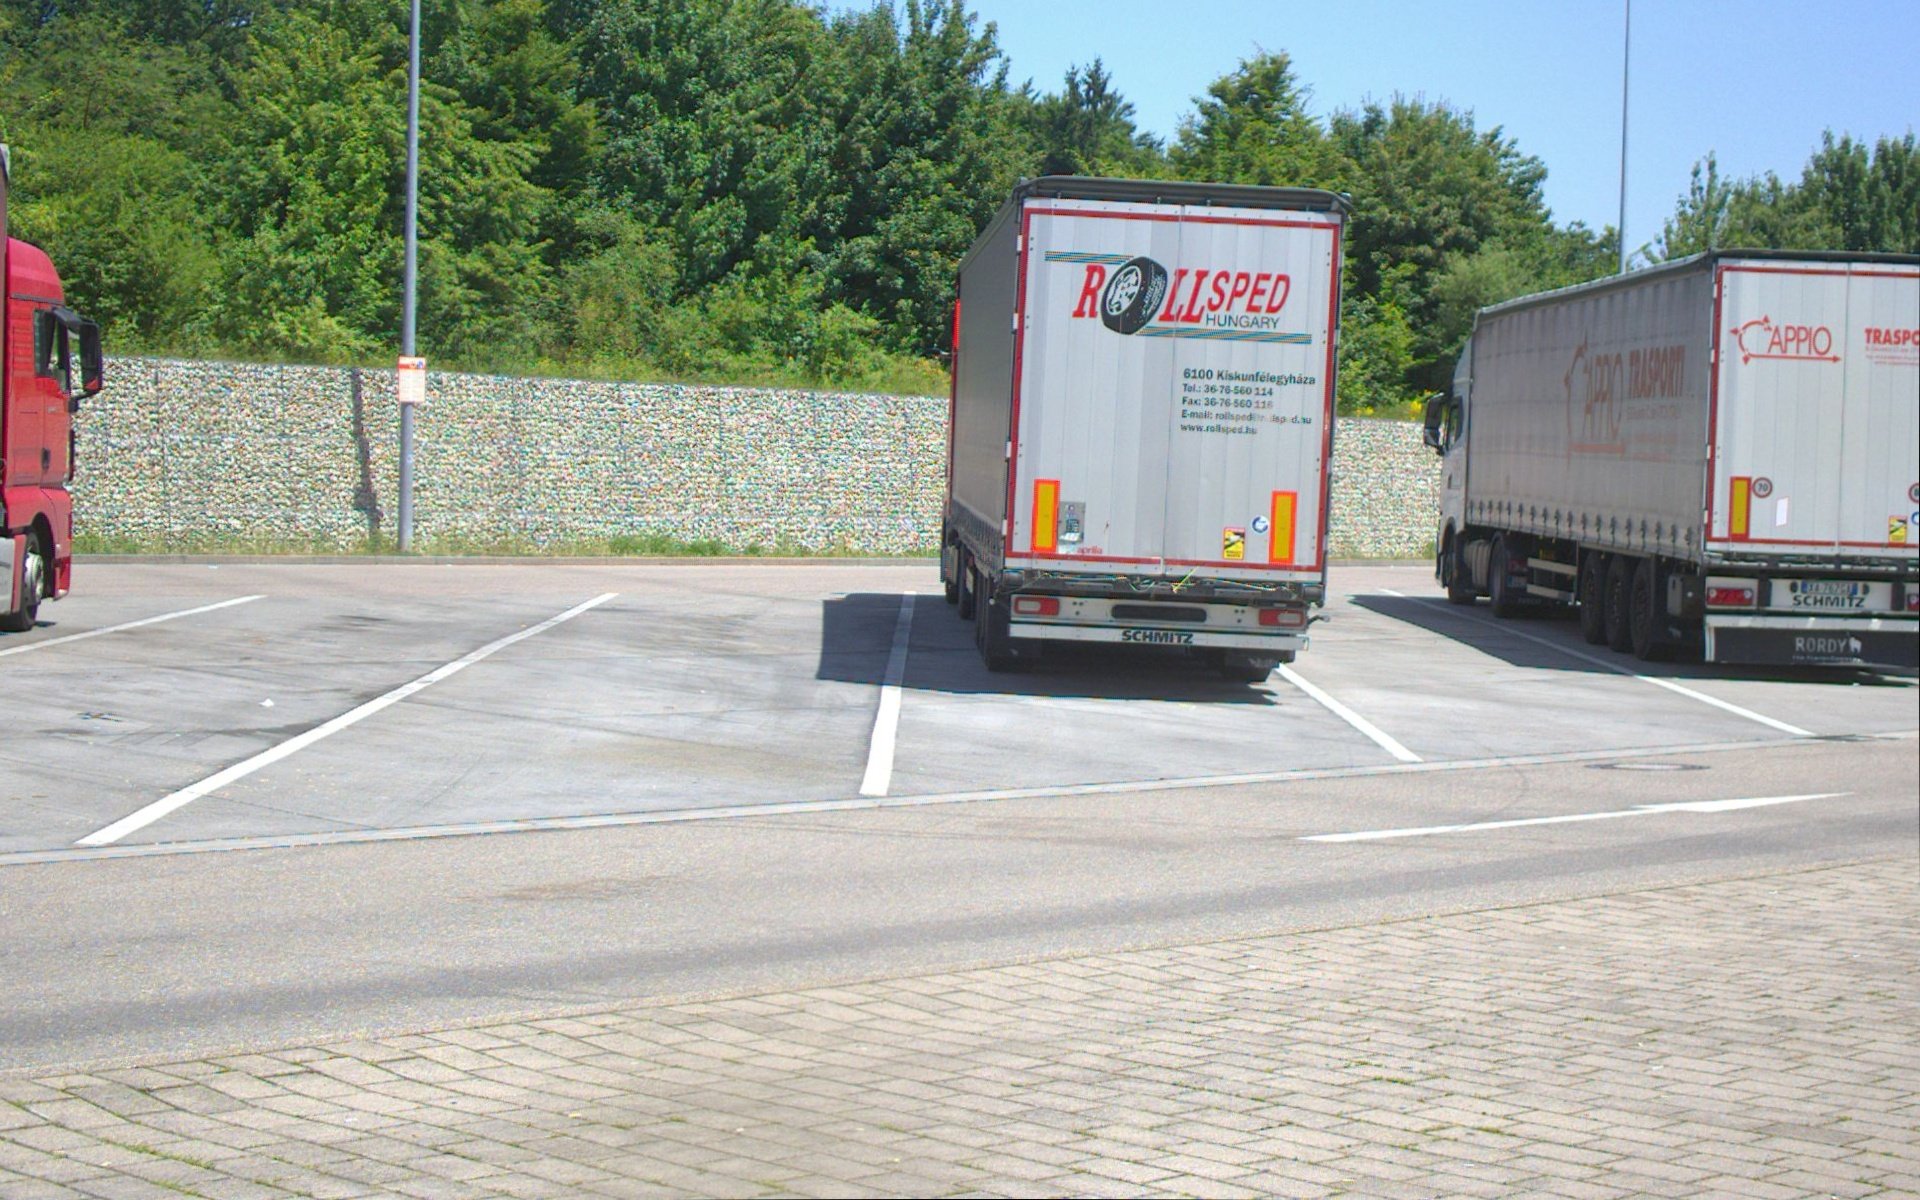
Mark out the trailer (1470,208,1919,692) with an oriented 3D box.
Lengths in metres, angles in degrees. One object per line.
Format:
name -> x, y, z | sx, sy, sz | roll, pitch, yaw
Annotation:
trailer -> 8.115, -1.579, 38.125 | 2.681, 4.437, 12.831 | 1, 2, -1

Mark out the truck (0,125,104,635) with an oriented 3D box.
truck -> -9.174, -1.806, 28.350 | 2.805, 4.119, 5.894 | 1, 2, -1

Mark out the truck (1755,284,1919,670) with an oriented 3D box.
truck -> 11.731, -1.341, 38.739 | 2.587, 4.211, 11.971 | 1, 1, -1

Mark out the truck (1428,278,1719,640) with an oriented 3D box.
truck -> 7.979, -1.834, 45.416 | 2.661, 4.437, 5.864 | 1, 2, -1

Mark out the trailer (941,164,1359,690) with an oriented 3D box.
trailer -> 1.426, -1.502, 32.007 | 2.897, 4.000, 11.319 | 1, 2, -2

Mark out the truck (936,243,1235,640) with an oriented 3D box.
truck -> 1.242, -1.694, 37.684 | 2.871, 3.967, 6.030 | 1, 2, -1
